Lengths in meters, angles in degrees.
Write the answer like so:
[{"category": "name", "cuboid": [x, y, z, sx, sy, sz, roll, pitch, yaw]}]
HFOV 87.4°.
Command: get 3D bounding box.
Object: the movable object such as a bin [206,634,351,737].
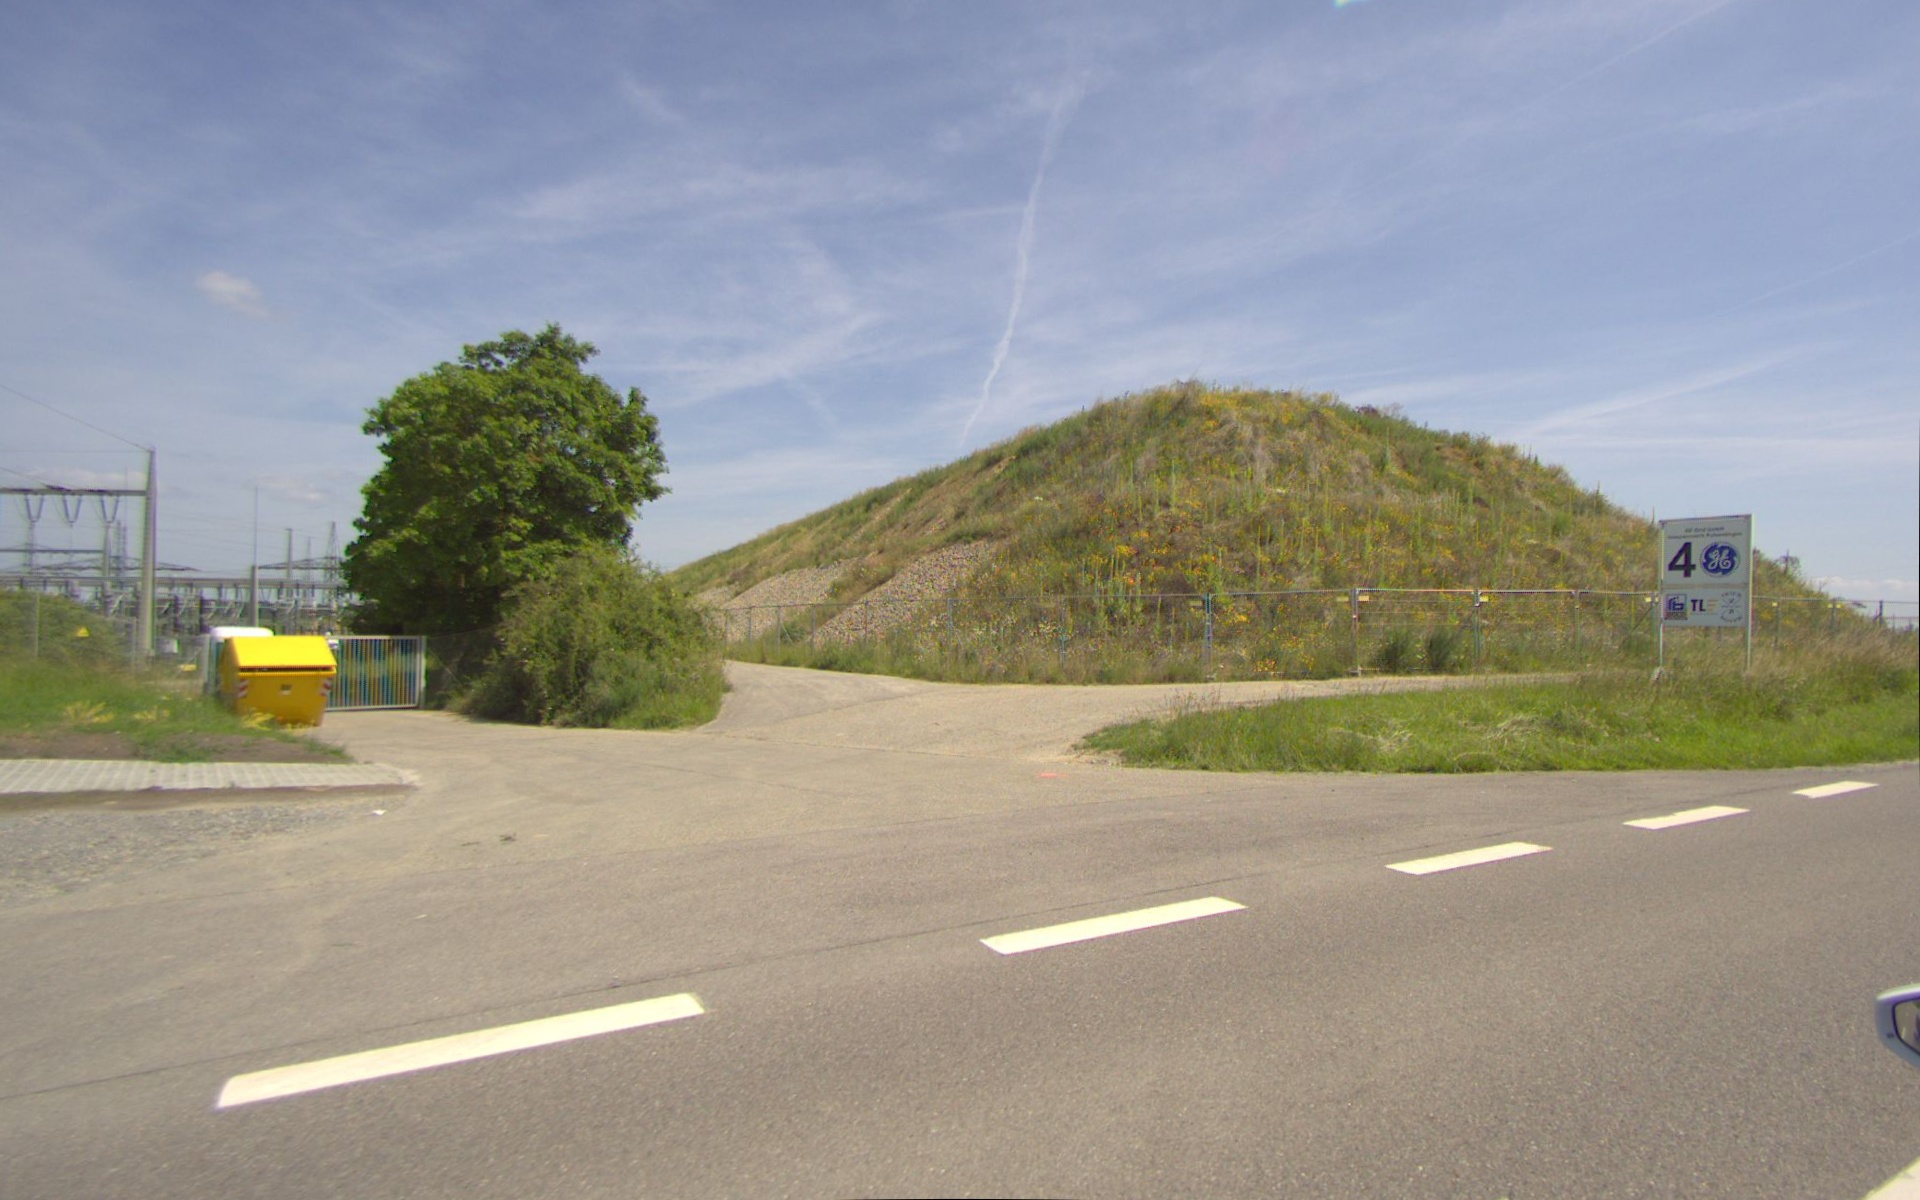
[{"category": "movable object such as a bin", "cuboid": [-15.875, 1.860, 23.296, 2.157, 1.940, 4.236, 1, 0, -43]}]
